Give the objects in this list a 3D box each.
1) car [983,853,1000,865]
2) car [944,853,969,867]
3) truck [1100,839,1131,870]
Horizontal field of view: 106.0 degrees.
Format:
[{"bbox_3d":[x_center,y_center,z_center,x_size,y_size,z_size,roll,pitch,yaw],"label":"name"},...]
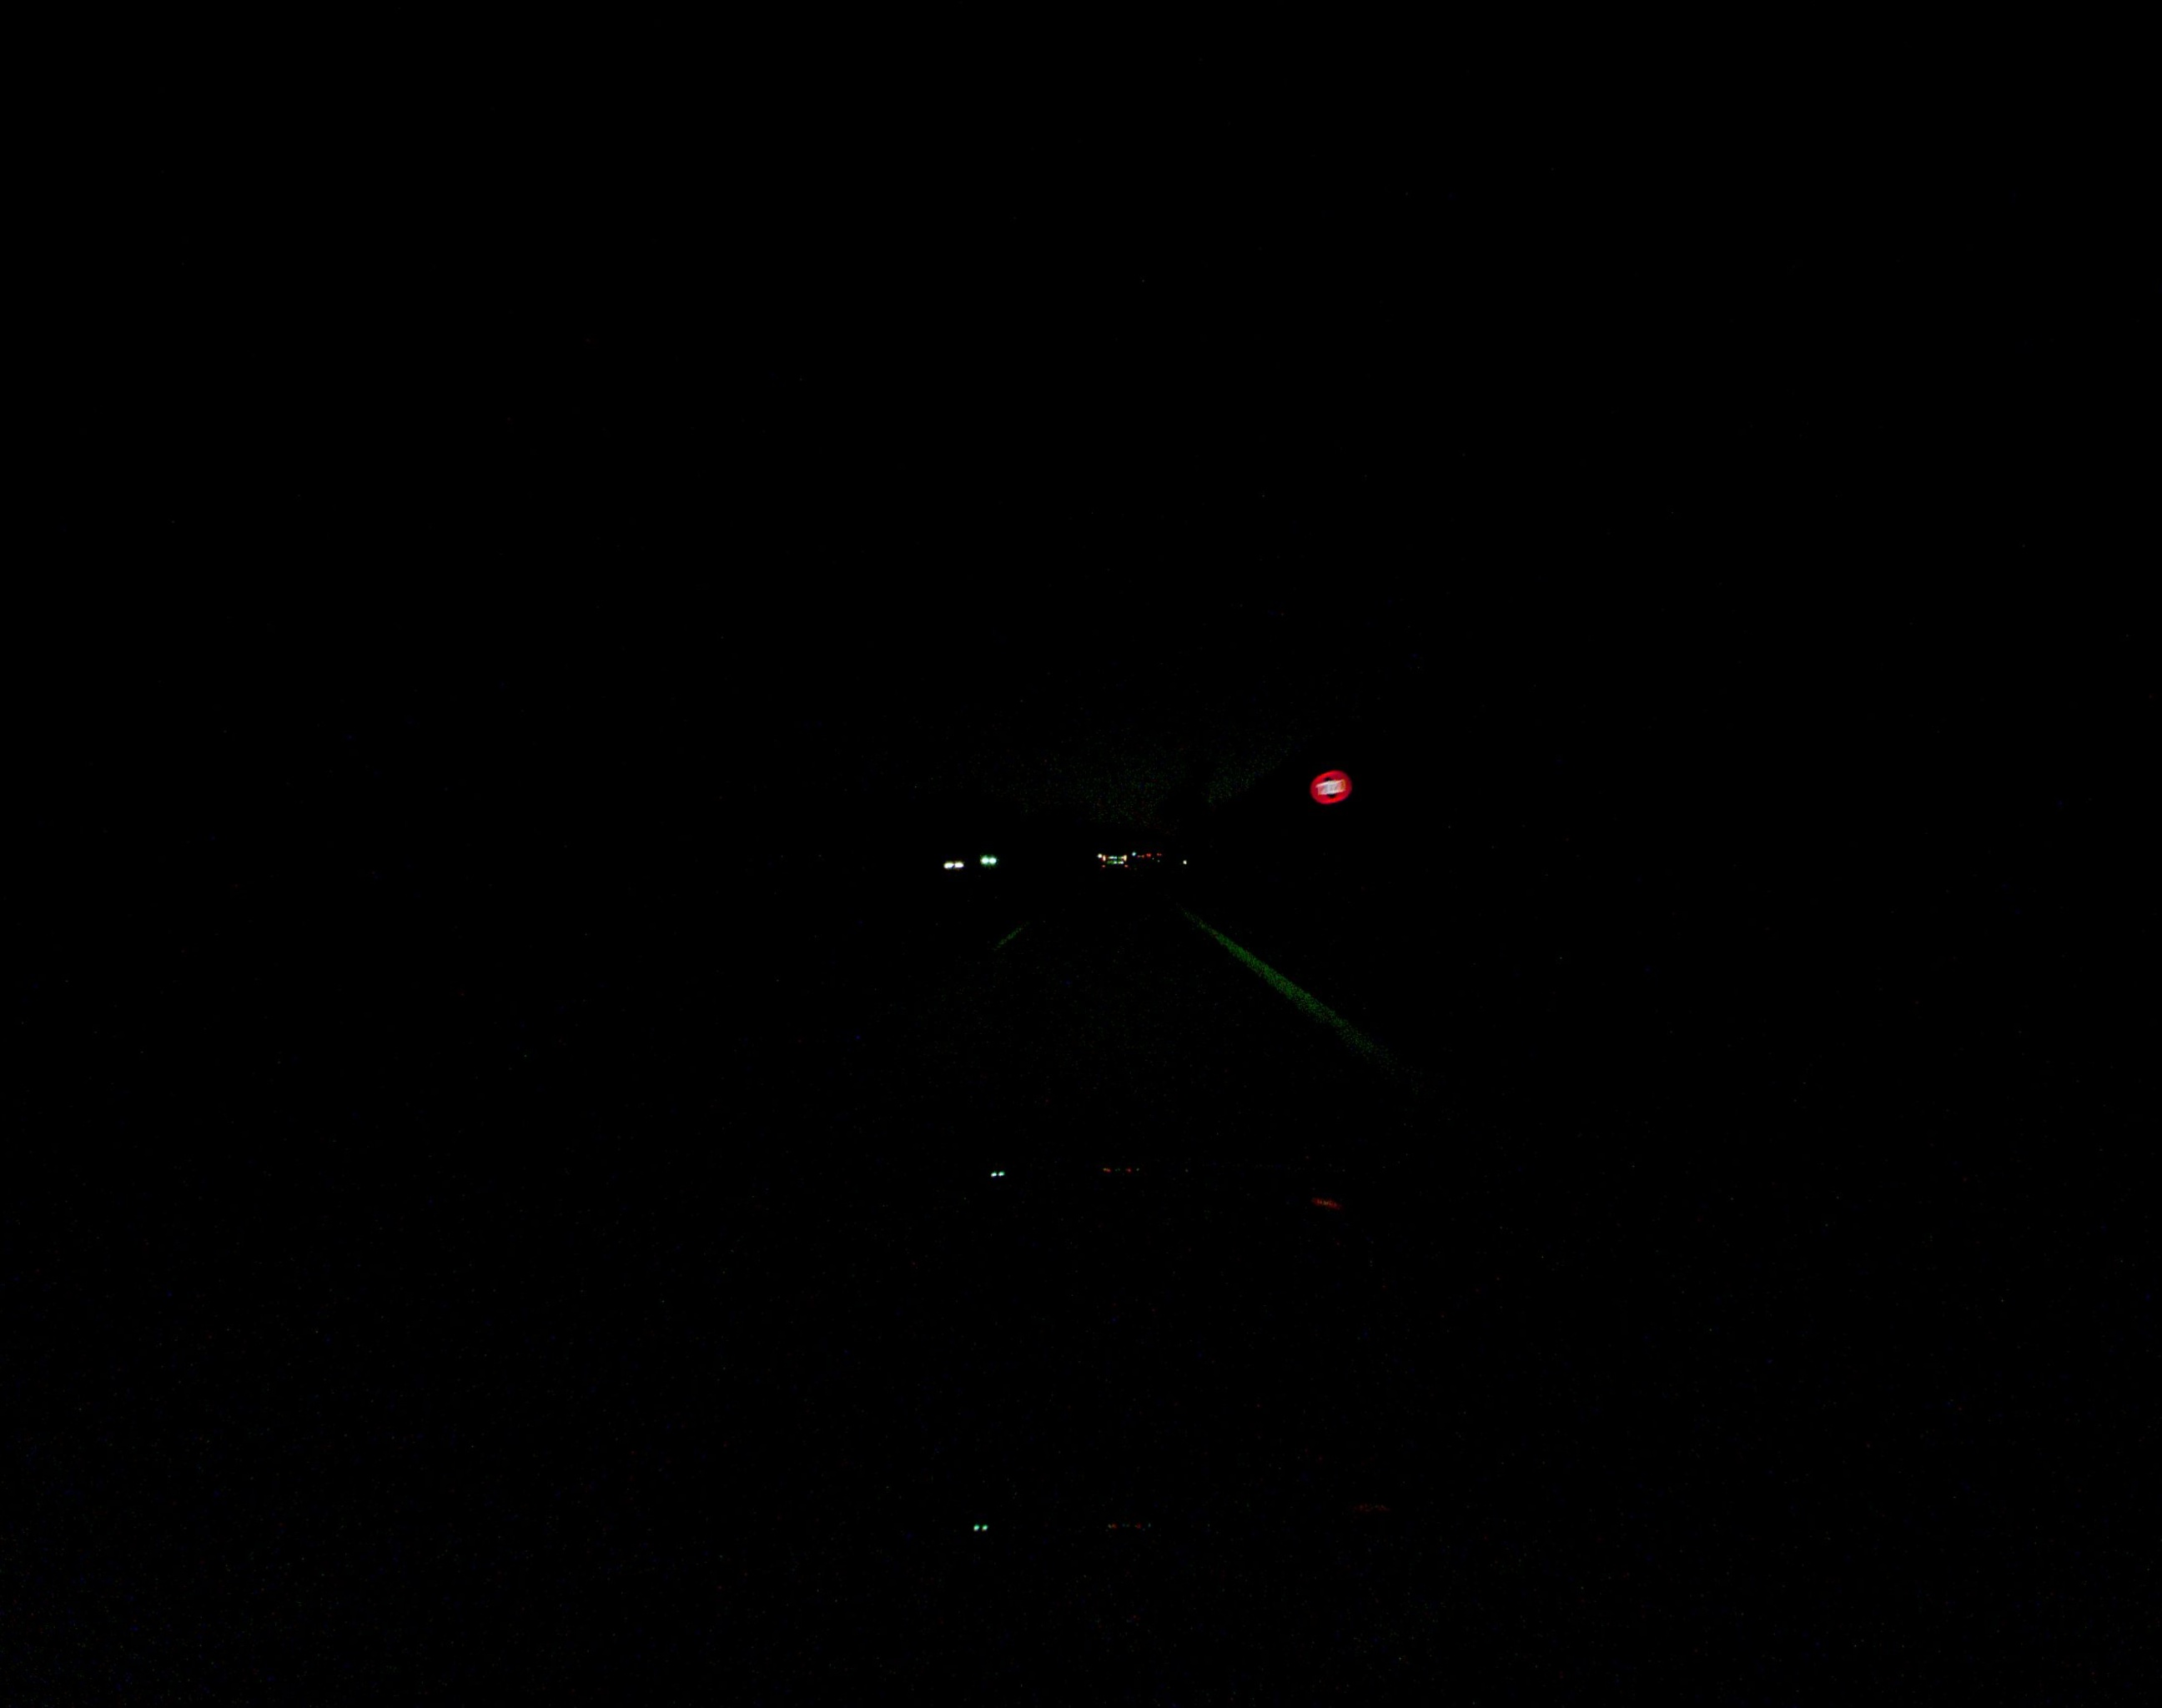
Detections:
[{"bbox_3d":[-15.339,0.856,139.480,2.018,2.014,5.190,-1,-1,2],"label":"car"},{"bbox_3d":[-14.234,0.667,93.269,1.986,1.602,4.215,-1,-1,2],"label":"car"},{"bbox_3d":[3.097,0.118,73.964,2.620,2.624,8.687,-1,-1,2],"label":"truck"}]
